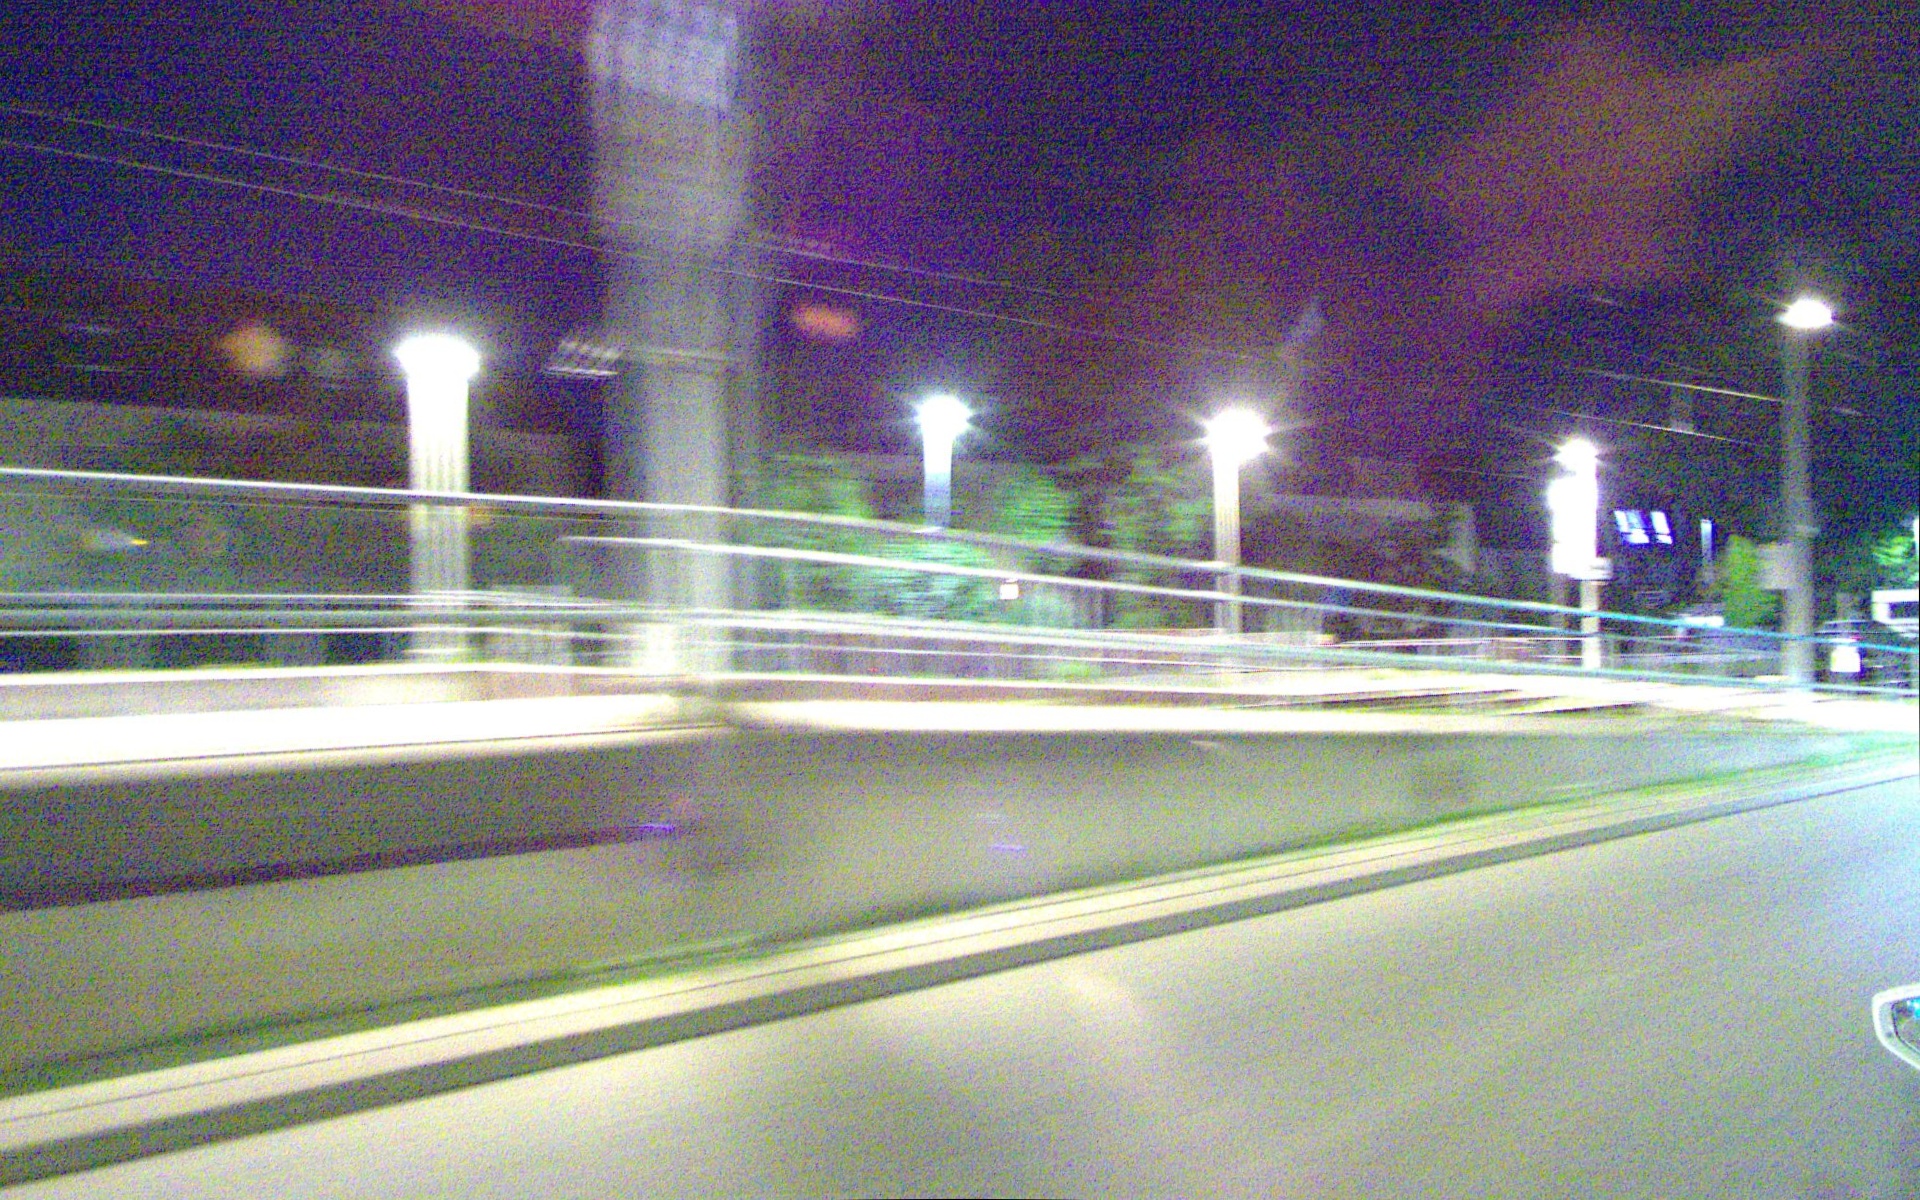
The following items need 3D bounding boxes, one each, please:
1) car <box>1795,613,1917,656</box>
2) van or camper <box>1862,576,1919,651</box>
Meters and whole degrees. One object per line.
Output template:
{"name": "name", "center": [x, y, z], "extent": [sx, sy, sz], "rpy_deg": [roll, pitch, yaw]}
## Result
{"name": "car", "center": [31.211, 1.192, 34.967], "extent": [4.485, 1.356, 1.640], "rpy_deg": [0, -5, -28]}
{"name": "van or camper", "center": [36.780, 0.495, 38.020], "extent": [5.598, 2.682, 2.262], "rpy_deg": [0, -3, -31]}
